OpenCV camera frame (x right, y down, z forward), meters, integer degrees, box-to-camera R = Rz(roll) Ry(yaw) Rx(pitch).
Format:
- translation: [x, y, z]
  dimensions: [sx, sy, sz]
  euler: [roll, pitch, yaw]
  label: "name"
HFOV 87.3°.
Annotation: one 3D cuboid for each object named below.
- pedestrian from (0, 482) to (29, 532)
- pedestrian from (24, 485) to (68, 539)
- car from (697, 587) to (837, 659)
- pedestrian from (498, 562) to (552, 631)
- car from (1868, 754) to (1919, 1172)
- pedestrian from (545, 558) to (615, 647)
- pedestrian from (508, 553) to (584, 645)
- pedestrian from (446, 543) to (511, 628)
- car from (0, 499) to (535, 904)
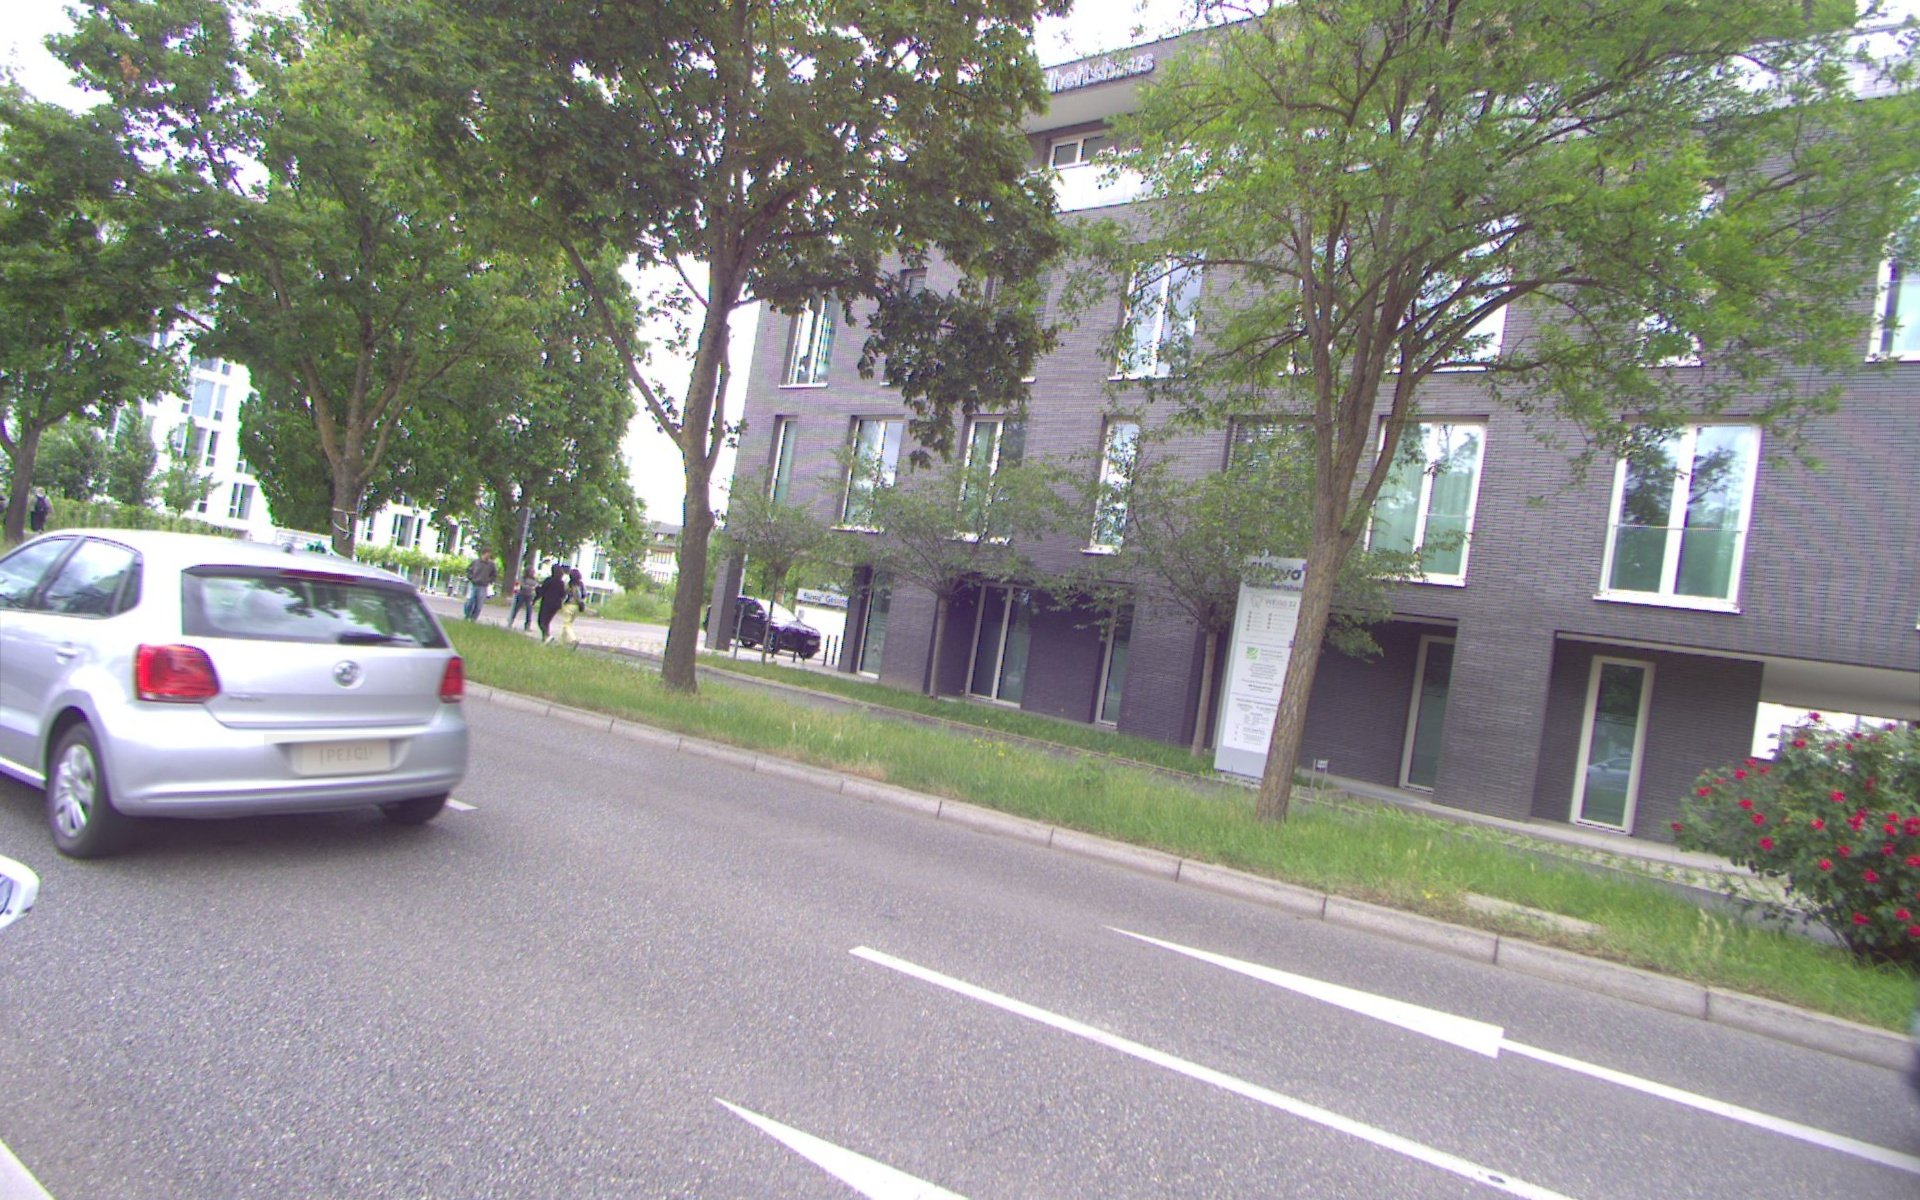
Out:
- translation: [-32.631, -3.193, 34.459]
  dimensions: [0.868, 1.614, 0.701]
  euler: [6, -1, 31]
  label: "pedestrian"
- translation: [-32.108, -3.089, 35.350]
  dimensions: [0.868, 1.705, 0.768]
  euler: [6, -1, 31]
  label: "pedestrian"
- translation: [-6.104, 0.716, 31.691]
  dimensions: [4.080, 1.665, 1.759]
  euler: [7, -2, 32]
  label: "car"
- translation: [-10.760, -0.065, 24.928]
  dimensions: [0.821, 1.575, 0.875]
  euler: [8, -1, -8]
  label: "pedestrian"
- translation: [5.239, 1.519, 2.584]
  dimensions: [3.933, 1.530, 1.660]
  euler: [6, -2, 31]
  label: "car"
- translation: [-7.866, 0.056, 20.813]
  dimensions: [0.937, 1.679, 0.779]
  euler: [7, -1, 38]
  label: "pedestrian"
- translation: [-8.322, -0.022, 20.206]
  dimensions: [1.043, 1.679, 0.796]
  euler: [7, -1, 38]
  label: "pedestrian"
- translation: [-11.632, -0.329, 24.343]
  dimensions: [0.946, 1.889, 0.978]
  euler: [8, -1, -8]
  label: "pedestrian"
- translation: [-4.280, 0.343, 5.531]
  dimensions: [3.613, 1.485, 1.609]
  euler: [7, -2, 31]
  label: "car"
